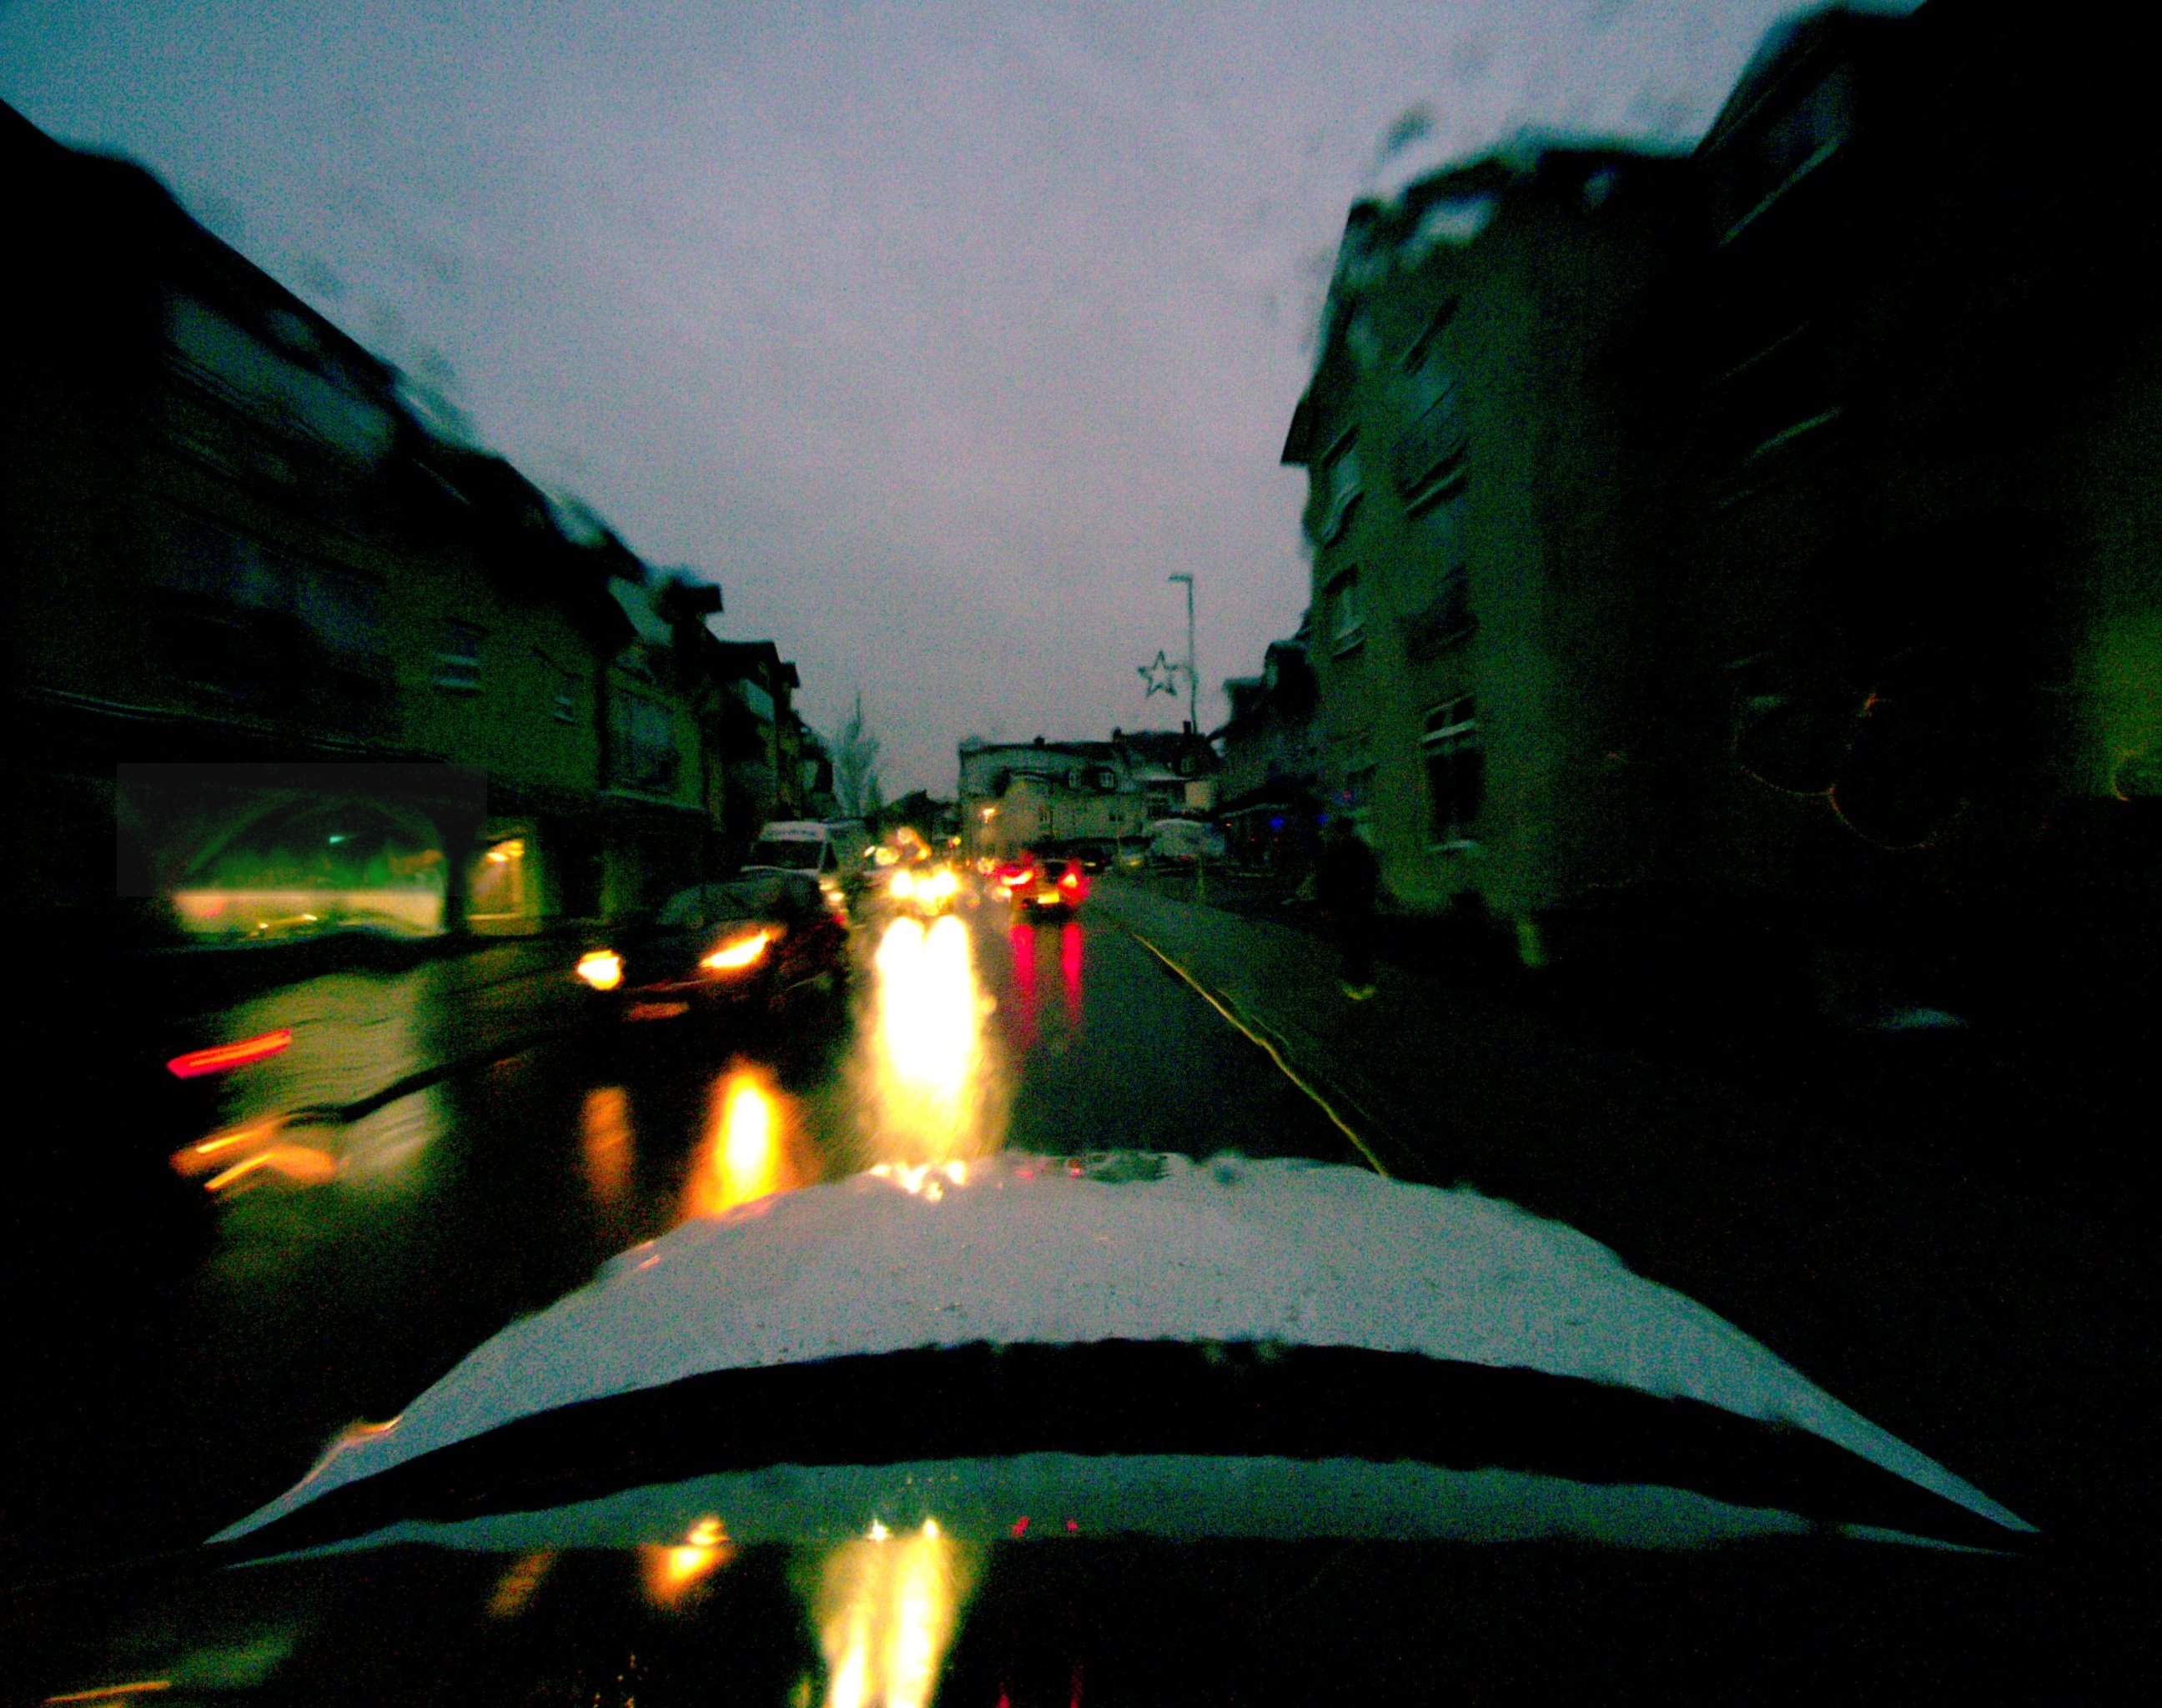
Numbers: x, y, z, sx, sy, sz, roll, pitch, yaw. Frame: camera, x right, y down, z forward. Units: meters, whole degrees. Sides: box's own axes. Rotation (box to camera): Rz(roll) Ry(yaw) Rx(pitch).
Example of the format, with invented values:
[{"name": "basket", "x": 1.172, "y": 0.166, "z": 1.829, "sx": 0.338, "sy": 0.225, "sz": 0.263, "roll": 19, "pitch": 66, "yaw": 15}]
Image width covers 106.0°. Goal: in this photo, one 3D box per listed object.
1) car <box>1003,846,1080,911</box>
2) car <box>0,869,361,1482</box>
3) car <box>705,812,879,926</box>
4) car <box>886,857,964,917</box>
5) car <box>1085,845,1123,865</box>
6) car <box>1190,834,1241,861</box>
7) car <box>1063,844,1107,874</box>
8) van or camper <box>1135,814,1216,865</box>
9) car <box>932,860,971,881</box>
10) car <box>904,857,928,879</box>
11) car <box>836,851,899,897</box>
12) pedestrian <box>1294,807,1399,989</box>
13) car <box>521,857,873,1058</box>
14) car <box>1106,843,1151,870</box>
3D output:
[{"name": "car", "x": -1.013, "y": 0.601, "z": 21.565, "sx": 1.810, "sy": 1.533, "sz": 3.997, "roll": -1, "pitch": 0, "yaw": -2}, {"name": "car", "x": -3.725, "y": 0.879, "z": 0.995, "sx": 1.852, "sy": 1.555, "sz": 4.256, "roll": -3, "pitch": 0, "yaw": -1}, {"name": "car", "x": -7.404, "y": 0.386, "z": 21.879, "sx": 2.479, "sy": 2.560, "sz": 6.755, "roll": -1, "pitch": -1, "yaw": -2}, {"name": "car", "x": -4.742, "y": 0.952, "z": 25.309, "sx": 1.915, "sy": 1.564, "sz": 4.218, "roll": -4, "pitch": 0, "yaw": -6}, {"name": "car", "x": 1.848, "y": 0.051, "z": 65.941, "sx": 1.826, "sy": 1.462, "sz": 4.526, "roll": -4, "pitch": 1, "yaw": -14}, {"name": "car", "x": 8.878, "y": -0.414, "z": 54.197, "sx": 1.791, "sy": 1.553, "sz": 3.982, "roll": -8, "pitch": 1, "yaw": -13}, {"name": "car", "x": 0.222, "y": 0.324, "z": 53.867, "sx": 1.995, "sy": 1.765, "sz": 4.332, "roll": -4, "pitch": 1, "yaw": -12}, {"name": "van or camper", "x": 6.205, "y": -0.879, "z": 54.604, "sx": 2.659, "sy": 3.047, "sz": 6.693, "roll": -5, "pitch": 1, "yaw": -18}, {"name": "car", "x": -10.067, "y": 1.247, "z": 63.011, "sx": 2.003, "sy": 1.588, "sz": 3.968, "roll": -1, "pitch": 0, "yaw": -24}, {"name": "car", "x": -16.670, "y": 1.395, "z": 82.161, "sx": 1.999, "sy": 2.202, "sz": 3.976, "roll": -1, "pitch": 0, "yaw": -18}, {"name": "car", "x": -9.242, "y": 0.813, "z": 35.677, "sx": 1.992, "sy": 1.843, "sz": 5.290, "roll": -1, "pitch": 0, "yaw": -7}, {"name": "pedestrian", "x": 2.663, "y": 0.416, "z": 8.259, "sx": 0.742, "sy": 1.729, "sz": 0.873, "roll": -2, "pitch": 1, "yaw": 1}, {"name": "car", "x": -3.830, "y": 0.895, "z": 9.136, "sx": 1.989, "sy": 1.555, "sz": 4.254, "roll": -2, "pitch": 1, "yaw": -2}, {"name": "car", "x": 3.089, "y": 0.193, "z": 54.034, "sx": 1.994, "sy": 1.610, "sz": 4.160, "roll": -4, "pitch": -1, "yaw": -10}]
